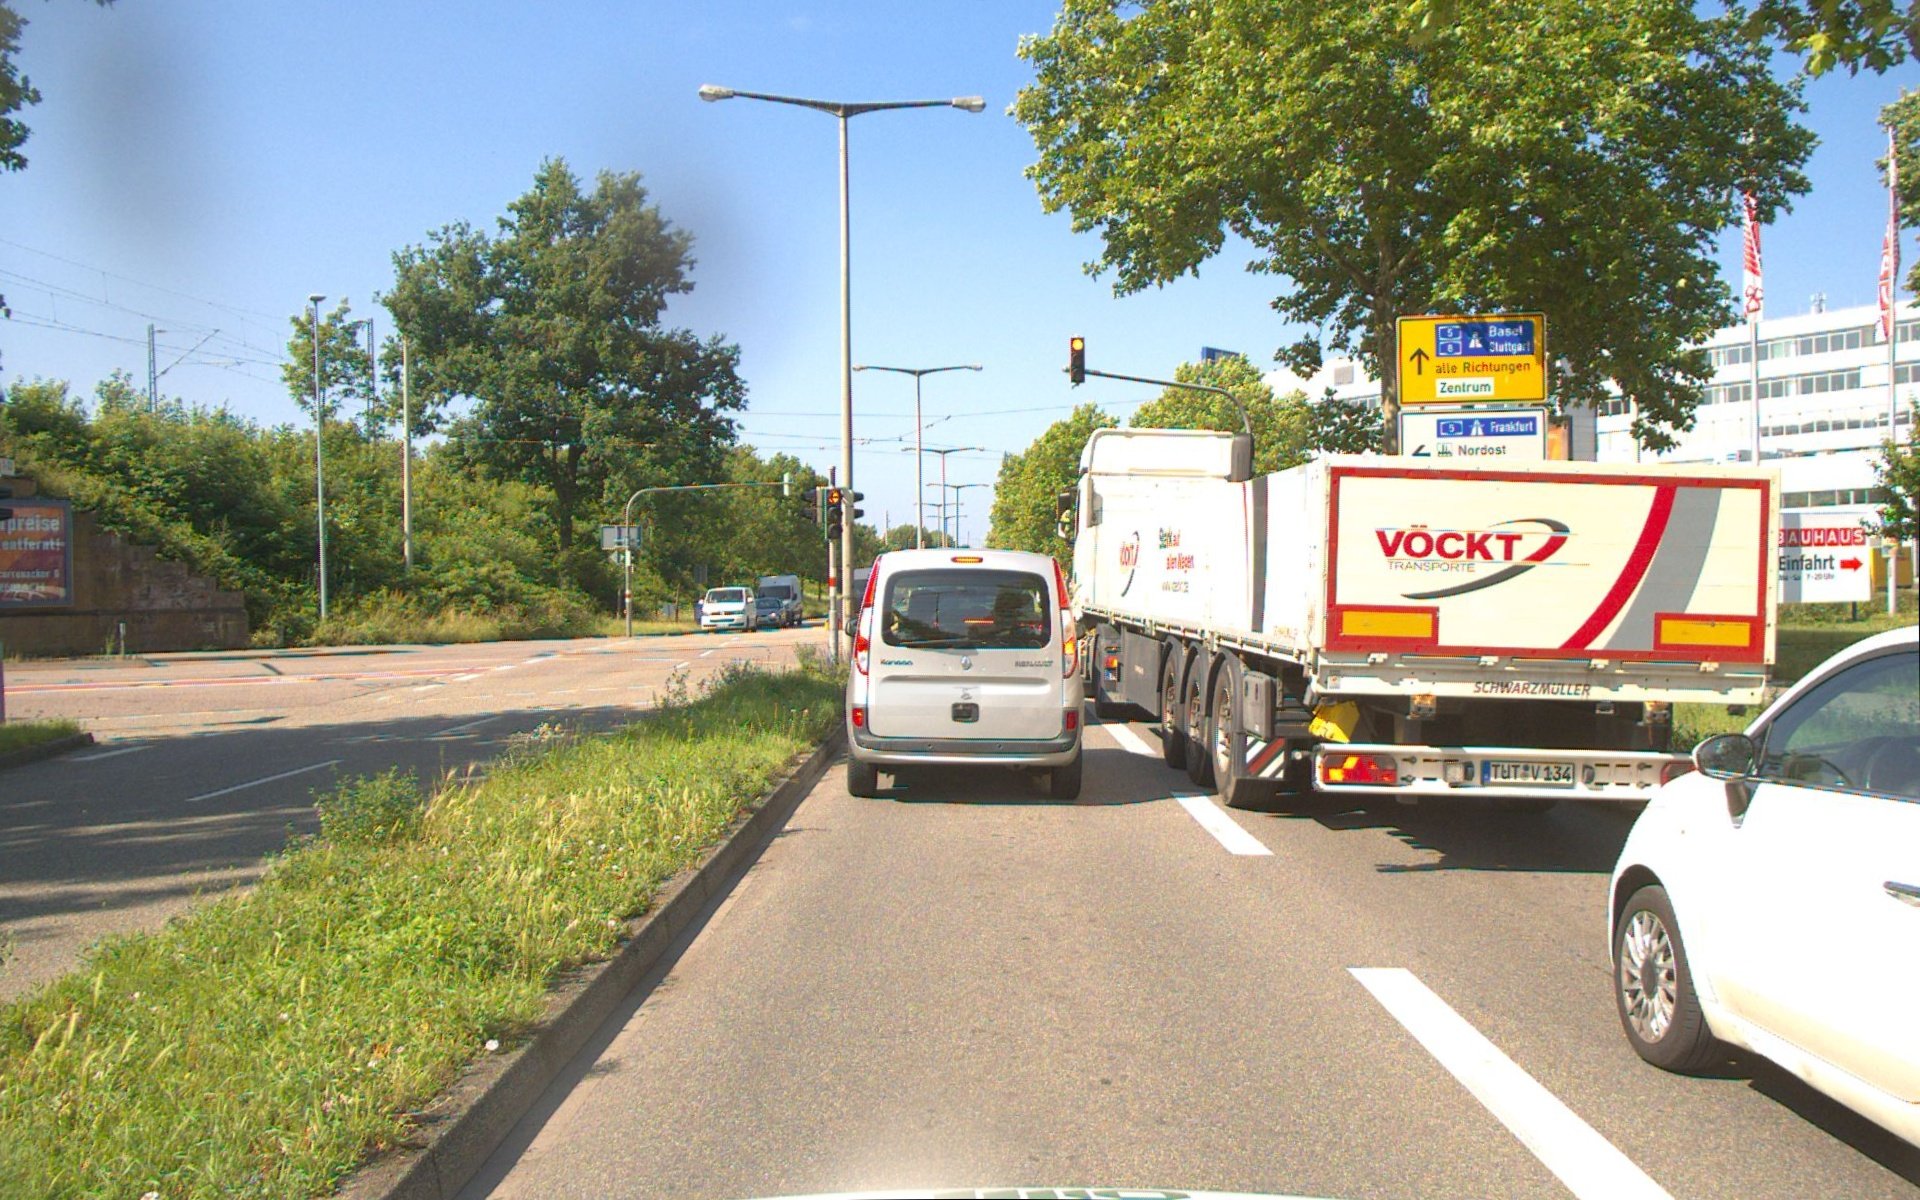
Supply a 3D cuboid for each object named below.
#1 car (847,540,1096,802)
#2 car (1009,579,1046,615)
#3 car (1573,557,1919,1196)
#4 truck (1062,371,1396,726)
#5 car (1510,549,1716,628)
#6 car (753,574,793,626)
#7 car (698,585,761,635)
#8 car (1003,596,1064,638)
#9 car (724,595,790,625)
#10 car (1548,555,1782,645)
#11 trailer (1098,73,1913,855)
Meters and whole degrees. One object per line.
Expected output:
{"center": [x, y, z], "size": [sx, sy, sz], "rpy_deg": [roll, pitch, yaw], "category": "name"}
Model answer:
{"center": [0.058, 0.493, 13.403], "size": [1.713, 1.803, 3.948], "rpy_deg": [0, 0, -1], "category": "car"}
{"center": [3.941, -0.172, 96.970], "size": [1.953, 2.049, 3.999], "rpy_deg": [0, 0, -1], "category": "car"}
{"center": [3.020, 0.637, 4.267], "size": [1.627, 1.461, 3.520], "rpy_deg": [0, 0, 1], "category": "car"}
{"center": [3.143, -0.556, 21.641], "size": [3.009, 3.823, 7.474], "rpy_deg": [0, 0, -1], "category": "truck"}
{"center": [14.405, -0.252, 36.640], "size": [3.903, 1.691, 1.724], "rpy_deg": [0, 0, 5], "category": "car"}
{"center": [-9.935, -0.011, 88.062], "size": [2.019, 2.660, 5.861], "rpy_deg": [0, 0, -6], "category": "car"}
{"center": [-9.595, 0.395, 69.147], "size": [1.953, 1.924, 4.986], "rpy_deg": [-3, 0, -1], "category": "car"}
{"center": [2.985, 0.663, 68.138], "size": [1.955, 1.668, 3.995], "rpy_deg": [0, 0, -6], "category": "car"}
{"center": [-9.893, 0.479, 80.317], "size": [1.888, 1.433, 4.190], "rpy_deg": [0, 0, -27], "category": "car"}
{"center": [13.841, -0.002, 32.636], "size": [3.903, 1.691, 1.724], "rpy_deg": [0, 0, 5], "category": "car"}
{"center": [3.185, -0.666, 14.213], "size": [2.954, 3.806, 12.239], "rpy_deg": [0, 0, 0], "category": "trailer"}
